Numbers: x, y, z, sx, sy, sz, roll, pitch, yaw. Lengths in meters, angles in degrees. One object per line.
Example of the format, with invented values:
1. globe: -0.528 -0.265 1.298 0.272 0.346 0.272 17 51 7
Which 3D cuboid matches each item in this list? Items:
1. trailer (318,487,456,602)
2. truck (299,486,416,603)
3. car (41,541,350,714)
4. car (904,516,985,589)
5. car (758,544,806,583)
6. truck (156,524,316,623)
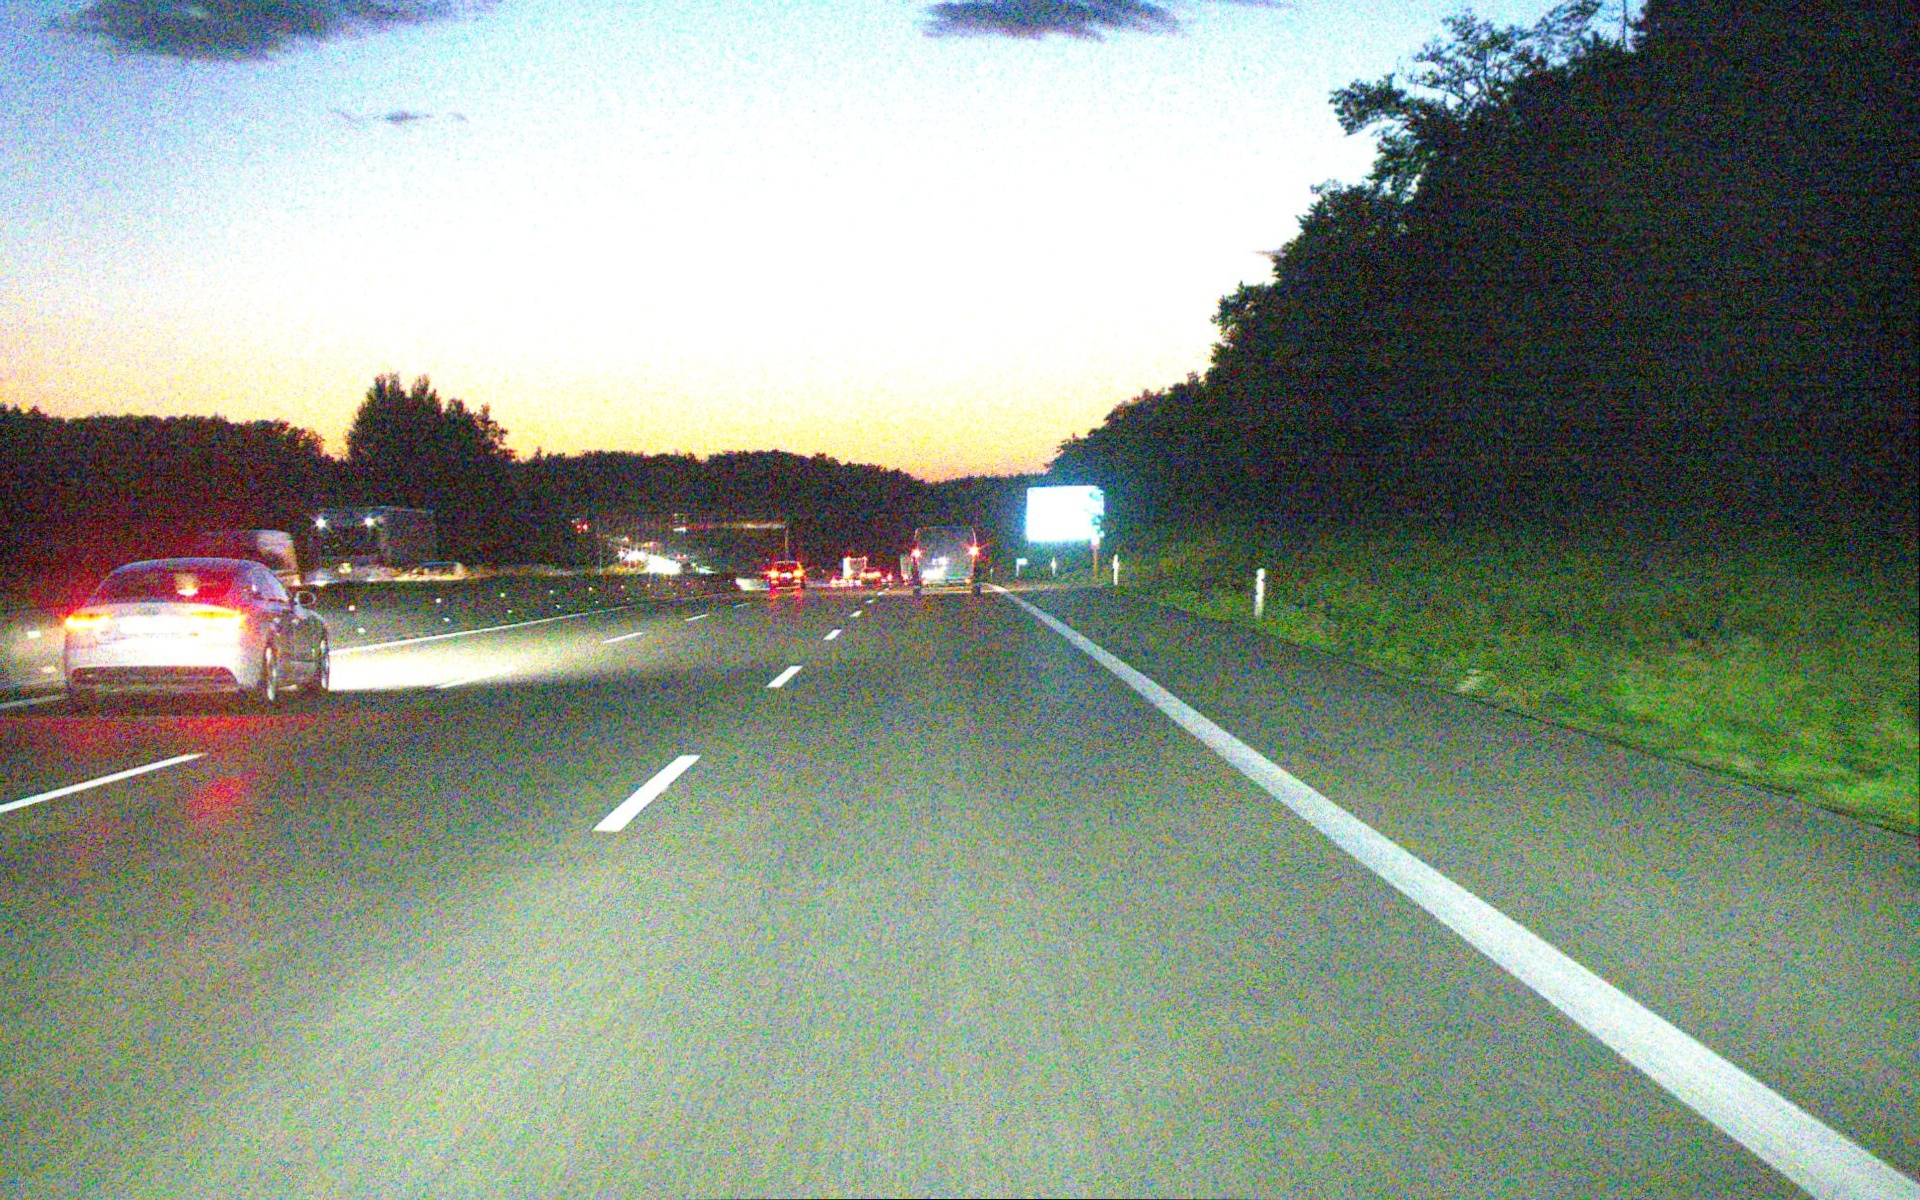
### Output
1. trailer: -23.701 -2.314 143.076 3.325 4.418 14.025 -2 1 0
2. truck: -23.656 -2.182 135.264 3.325 4.418 6.708 -2 1 0
3. car: -7.142 0.196 32.651 1.779 1.482 5.254 0 1 0
4. car: -0.481 -1.389 100.034 2.196 1.948 4.764 -3 1 -1
5. car: -9.103 -1.884 175.918 2.196 1.949 4.633 0 1 0
6. truck: -20.272 -0.780 96.702 2.872 2.632 7.886 -1 1 0
